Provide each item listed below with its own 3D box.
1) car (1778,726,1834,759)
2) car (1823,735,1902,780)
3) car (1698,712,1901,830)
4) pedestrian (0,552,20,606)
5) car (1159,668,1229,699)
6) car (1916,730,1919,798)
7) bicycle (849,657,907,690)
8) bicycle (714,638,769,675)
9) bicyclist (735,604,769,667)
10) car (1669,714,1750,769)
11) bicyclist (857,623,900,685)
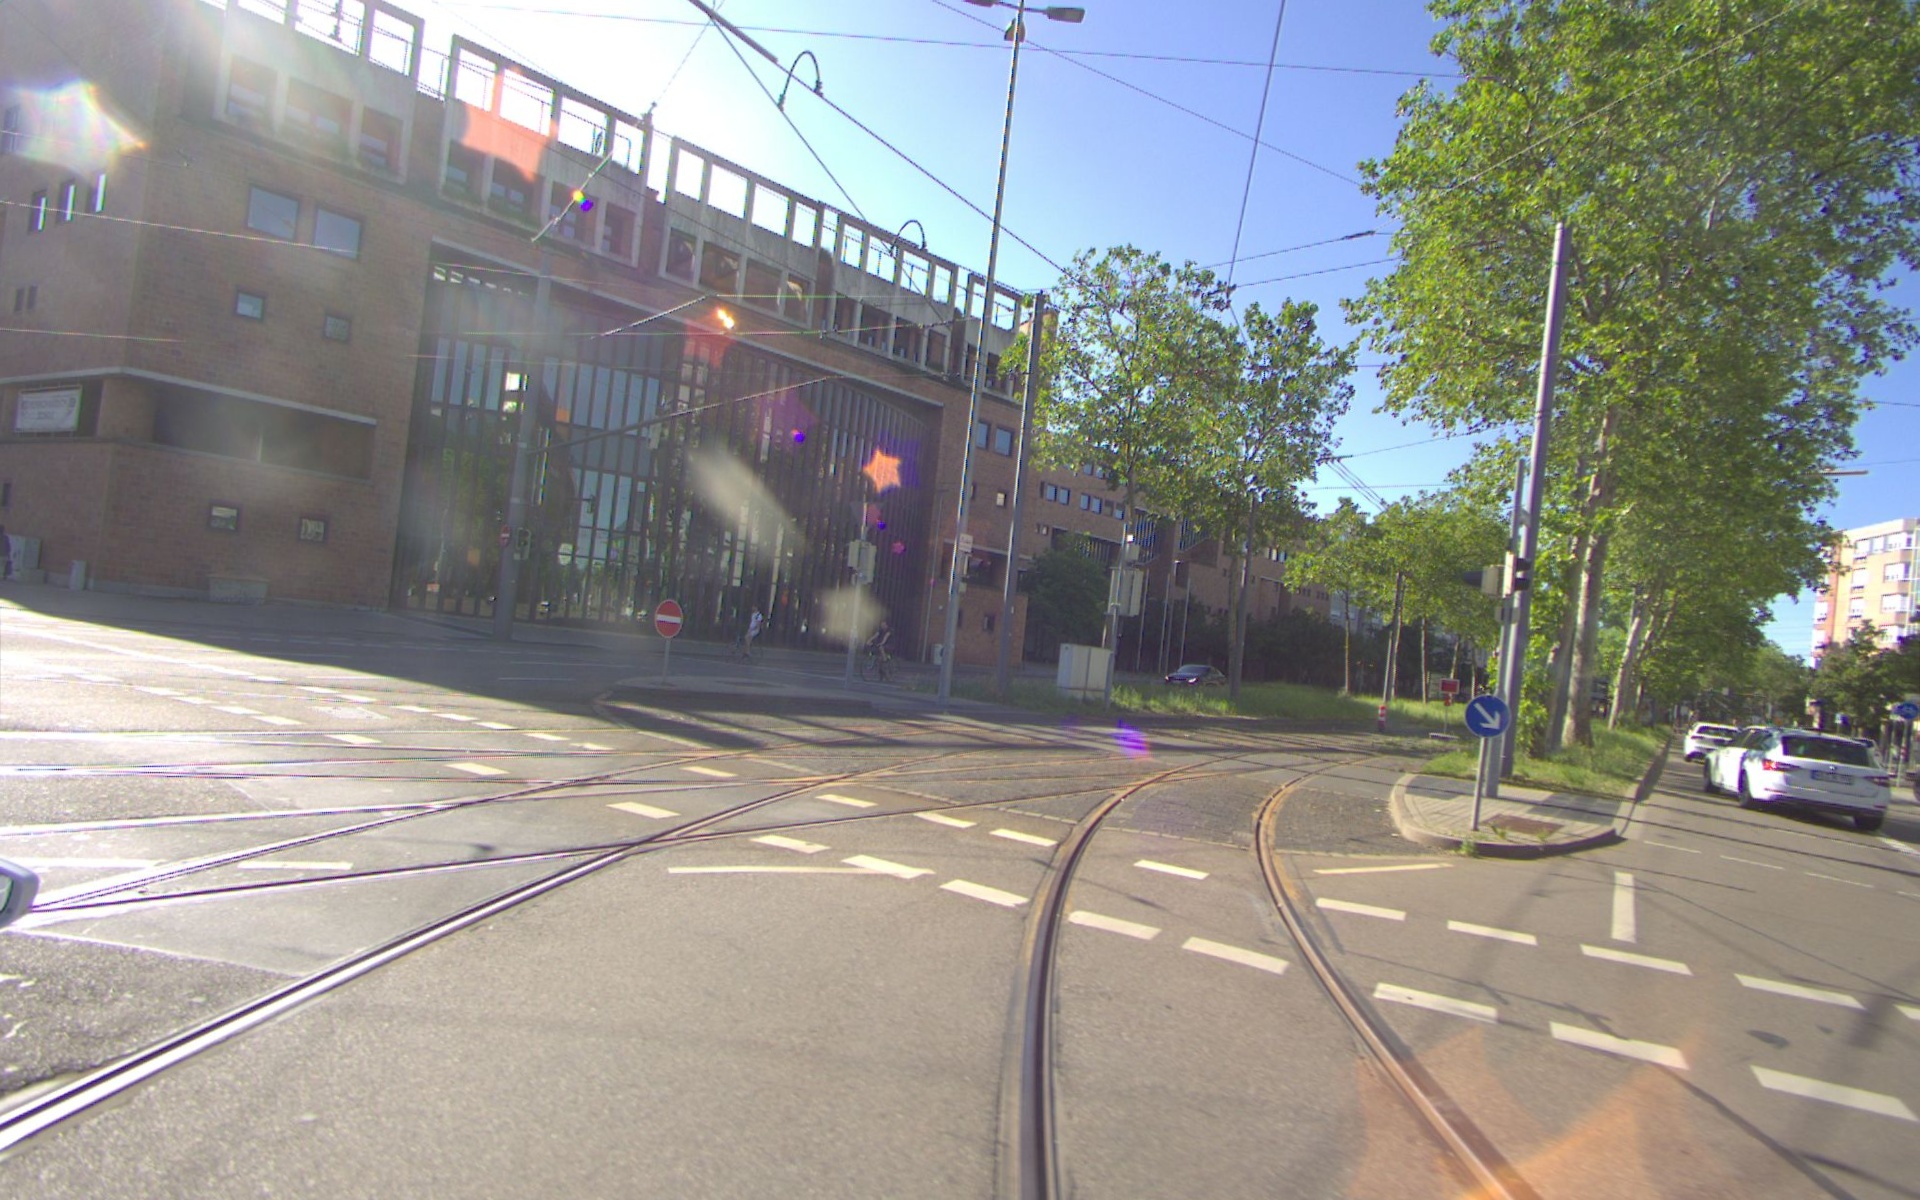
[{"bbox_3d":[50.038,8.421,59.591,1.881,1.601,3.996,7,-3,33],"label":"car"},{"bbox_3d":[40.594,7.073,45.351,1.881,1.601,3.996,7,-3,33],"label":"car"},{"bbox_3d":[14.484,2.902,17.633,1.880,1.558,4.137,5,-4,30],"label":"car"},{"bbox_3d":[-28.972,-0.653,30.294,0.971,1.581,0.618,4,-2,31],"label":"pedestrian"},{"bbox_3d":[11.987,4.286,51.384,1.715,1.281,3.982,3,-3,41],"label":"car"},{"bbox_3d":[26.361,4.406,25.958,1.793,1.873,4.378,3,-3,36],"label":"car"},{"bbox_3d":[-2.282,2.076,28.261,0.663,0.816,1.670,4,-3,35],"label":"bicycle"},{"bbox_3d":[-6.716,1.752,31.022,0.662,1.006,1.673,4,-2,28],"label":"bicycle"},{"bbox_3d":[-6.469,1.113,31.338,0.640,1.906,0.607,4,-1,29],"label":"bicyclist"},{"bbox_3d":[27.015,5.114,36.360,1.881,1.601,3.996,7,-3,33],"label":"car"},{"bbox_3d":[-2.283,1.521,28.190,0.661,1.649,0.863,4,-2,35],"label":"bicyclist"}]
